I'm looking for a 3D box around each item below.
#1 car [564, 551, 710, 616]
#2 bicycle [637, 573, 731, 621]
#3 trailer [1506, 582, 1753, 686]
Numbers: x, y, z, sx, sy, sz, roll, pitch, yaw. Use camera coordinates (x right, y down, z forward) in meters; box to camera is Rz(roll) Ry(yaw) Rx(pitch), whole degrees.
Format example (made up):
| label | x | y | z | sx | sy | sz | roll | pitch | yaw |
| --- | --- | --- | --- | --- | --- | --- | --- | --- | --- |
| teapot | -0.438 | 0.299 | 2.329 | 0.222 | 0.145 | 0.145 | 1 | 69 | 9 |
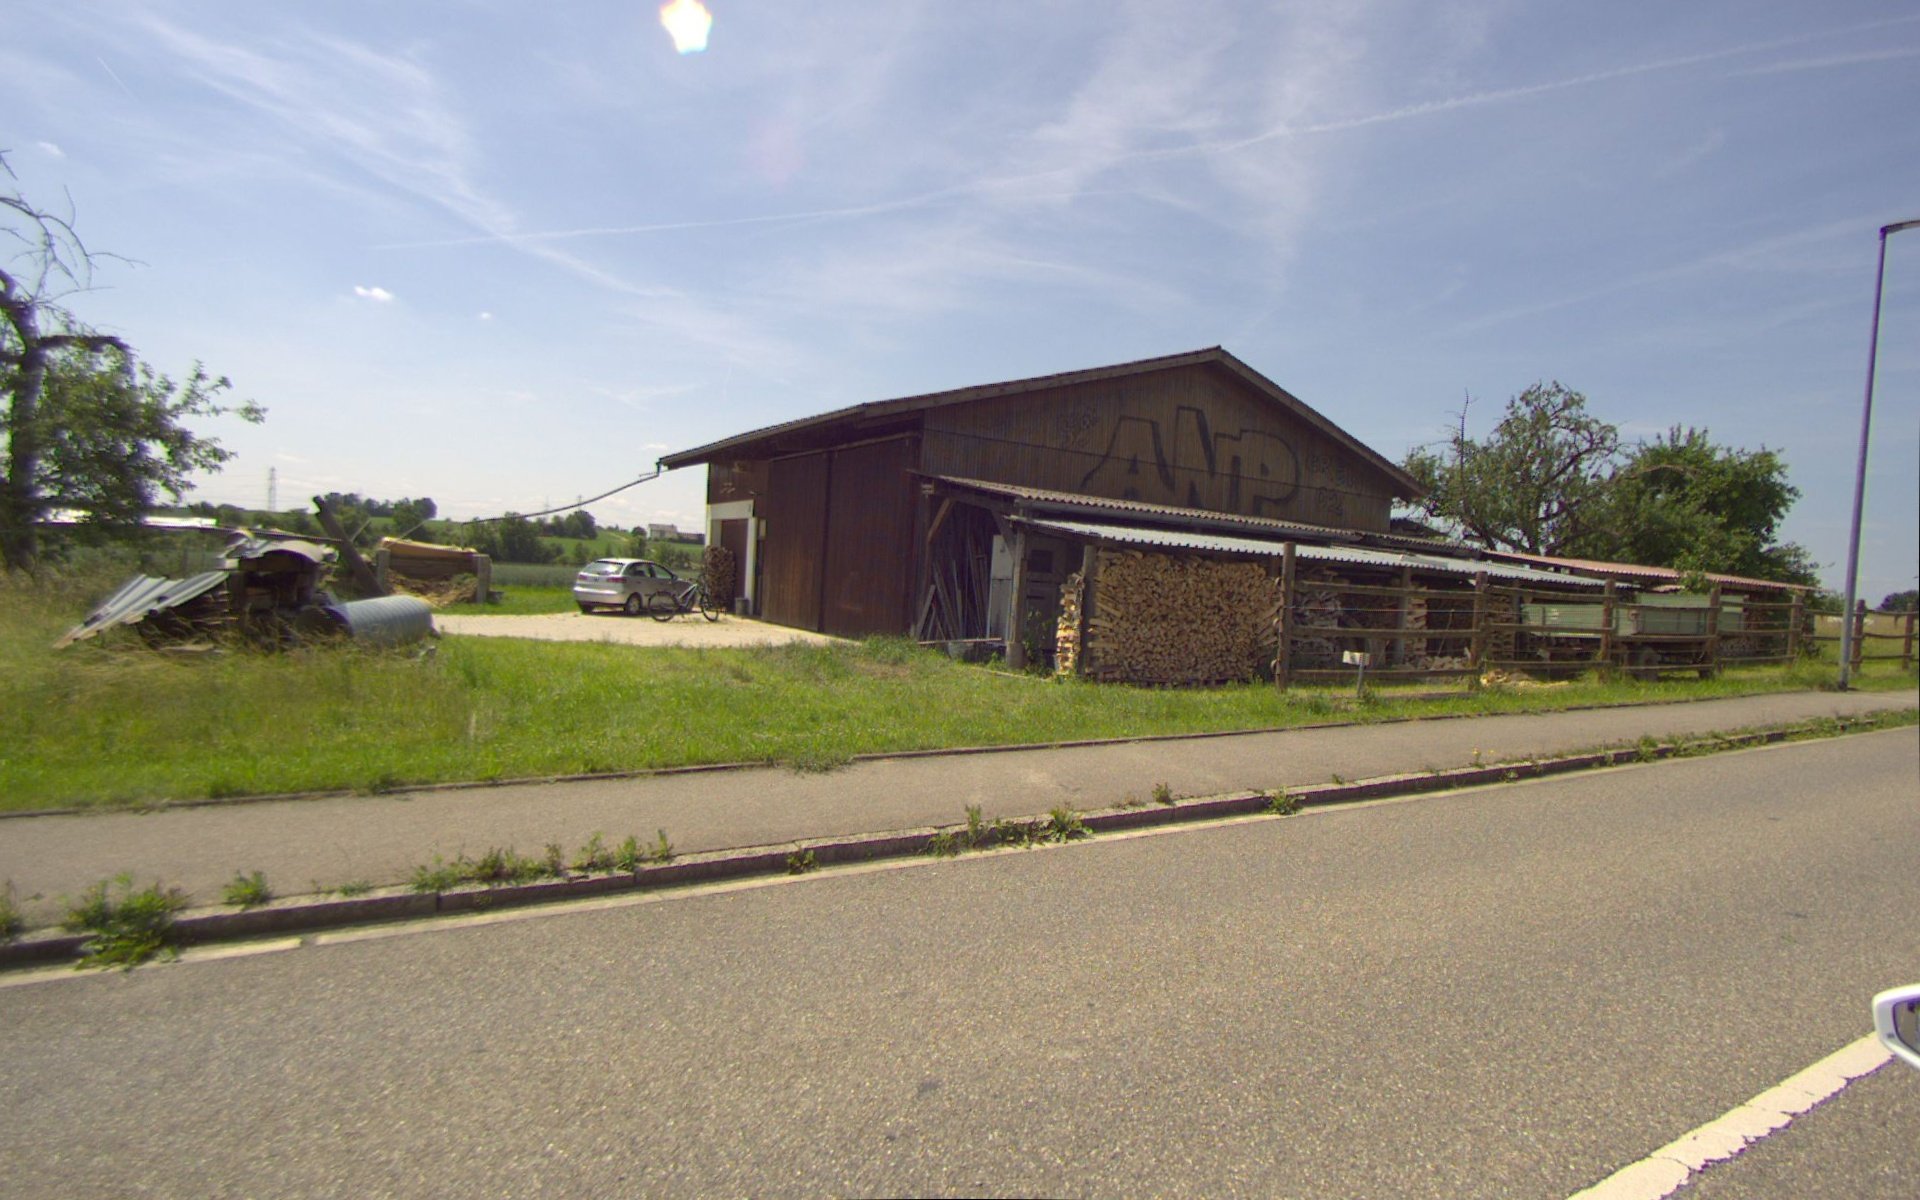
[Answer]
| label | x | y | z | sx | sy | sz | roll | pitch | yaw |
| --- | --- | --- | --- | --- | --- | --- | --- | --- | --- |
| car | -8.709 | -0.483 | 27.460 | 1.758 | 1.539 | 4.000 | 4 | 3 | 18 |
| bicycle | -6.841 | -0.069 | 24.919 | 2.087 | 1.093 | 0.826 | 1 | 2 | -30 |
| trailer | 12.859 | 0.617 | 19.213 | 4.975 | 1.726 | 2.142 | 2 | 1 | -33 |
